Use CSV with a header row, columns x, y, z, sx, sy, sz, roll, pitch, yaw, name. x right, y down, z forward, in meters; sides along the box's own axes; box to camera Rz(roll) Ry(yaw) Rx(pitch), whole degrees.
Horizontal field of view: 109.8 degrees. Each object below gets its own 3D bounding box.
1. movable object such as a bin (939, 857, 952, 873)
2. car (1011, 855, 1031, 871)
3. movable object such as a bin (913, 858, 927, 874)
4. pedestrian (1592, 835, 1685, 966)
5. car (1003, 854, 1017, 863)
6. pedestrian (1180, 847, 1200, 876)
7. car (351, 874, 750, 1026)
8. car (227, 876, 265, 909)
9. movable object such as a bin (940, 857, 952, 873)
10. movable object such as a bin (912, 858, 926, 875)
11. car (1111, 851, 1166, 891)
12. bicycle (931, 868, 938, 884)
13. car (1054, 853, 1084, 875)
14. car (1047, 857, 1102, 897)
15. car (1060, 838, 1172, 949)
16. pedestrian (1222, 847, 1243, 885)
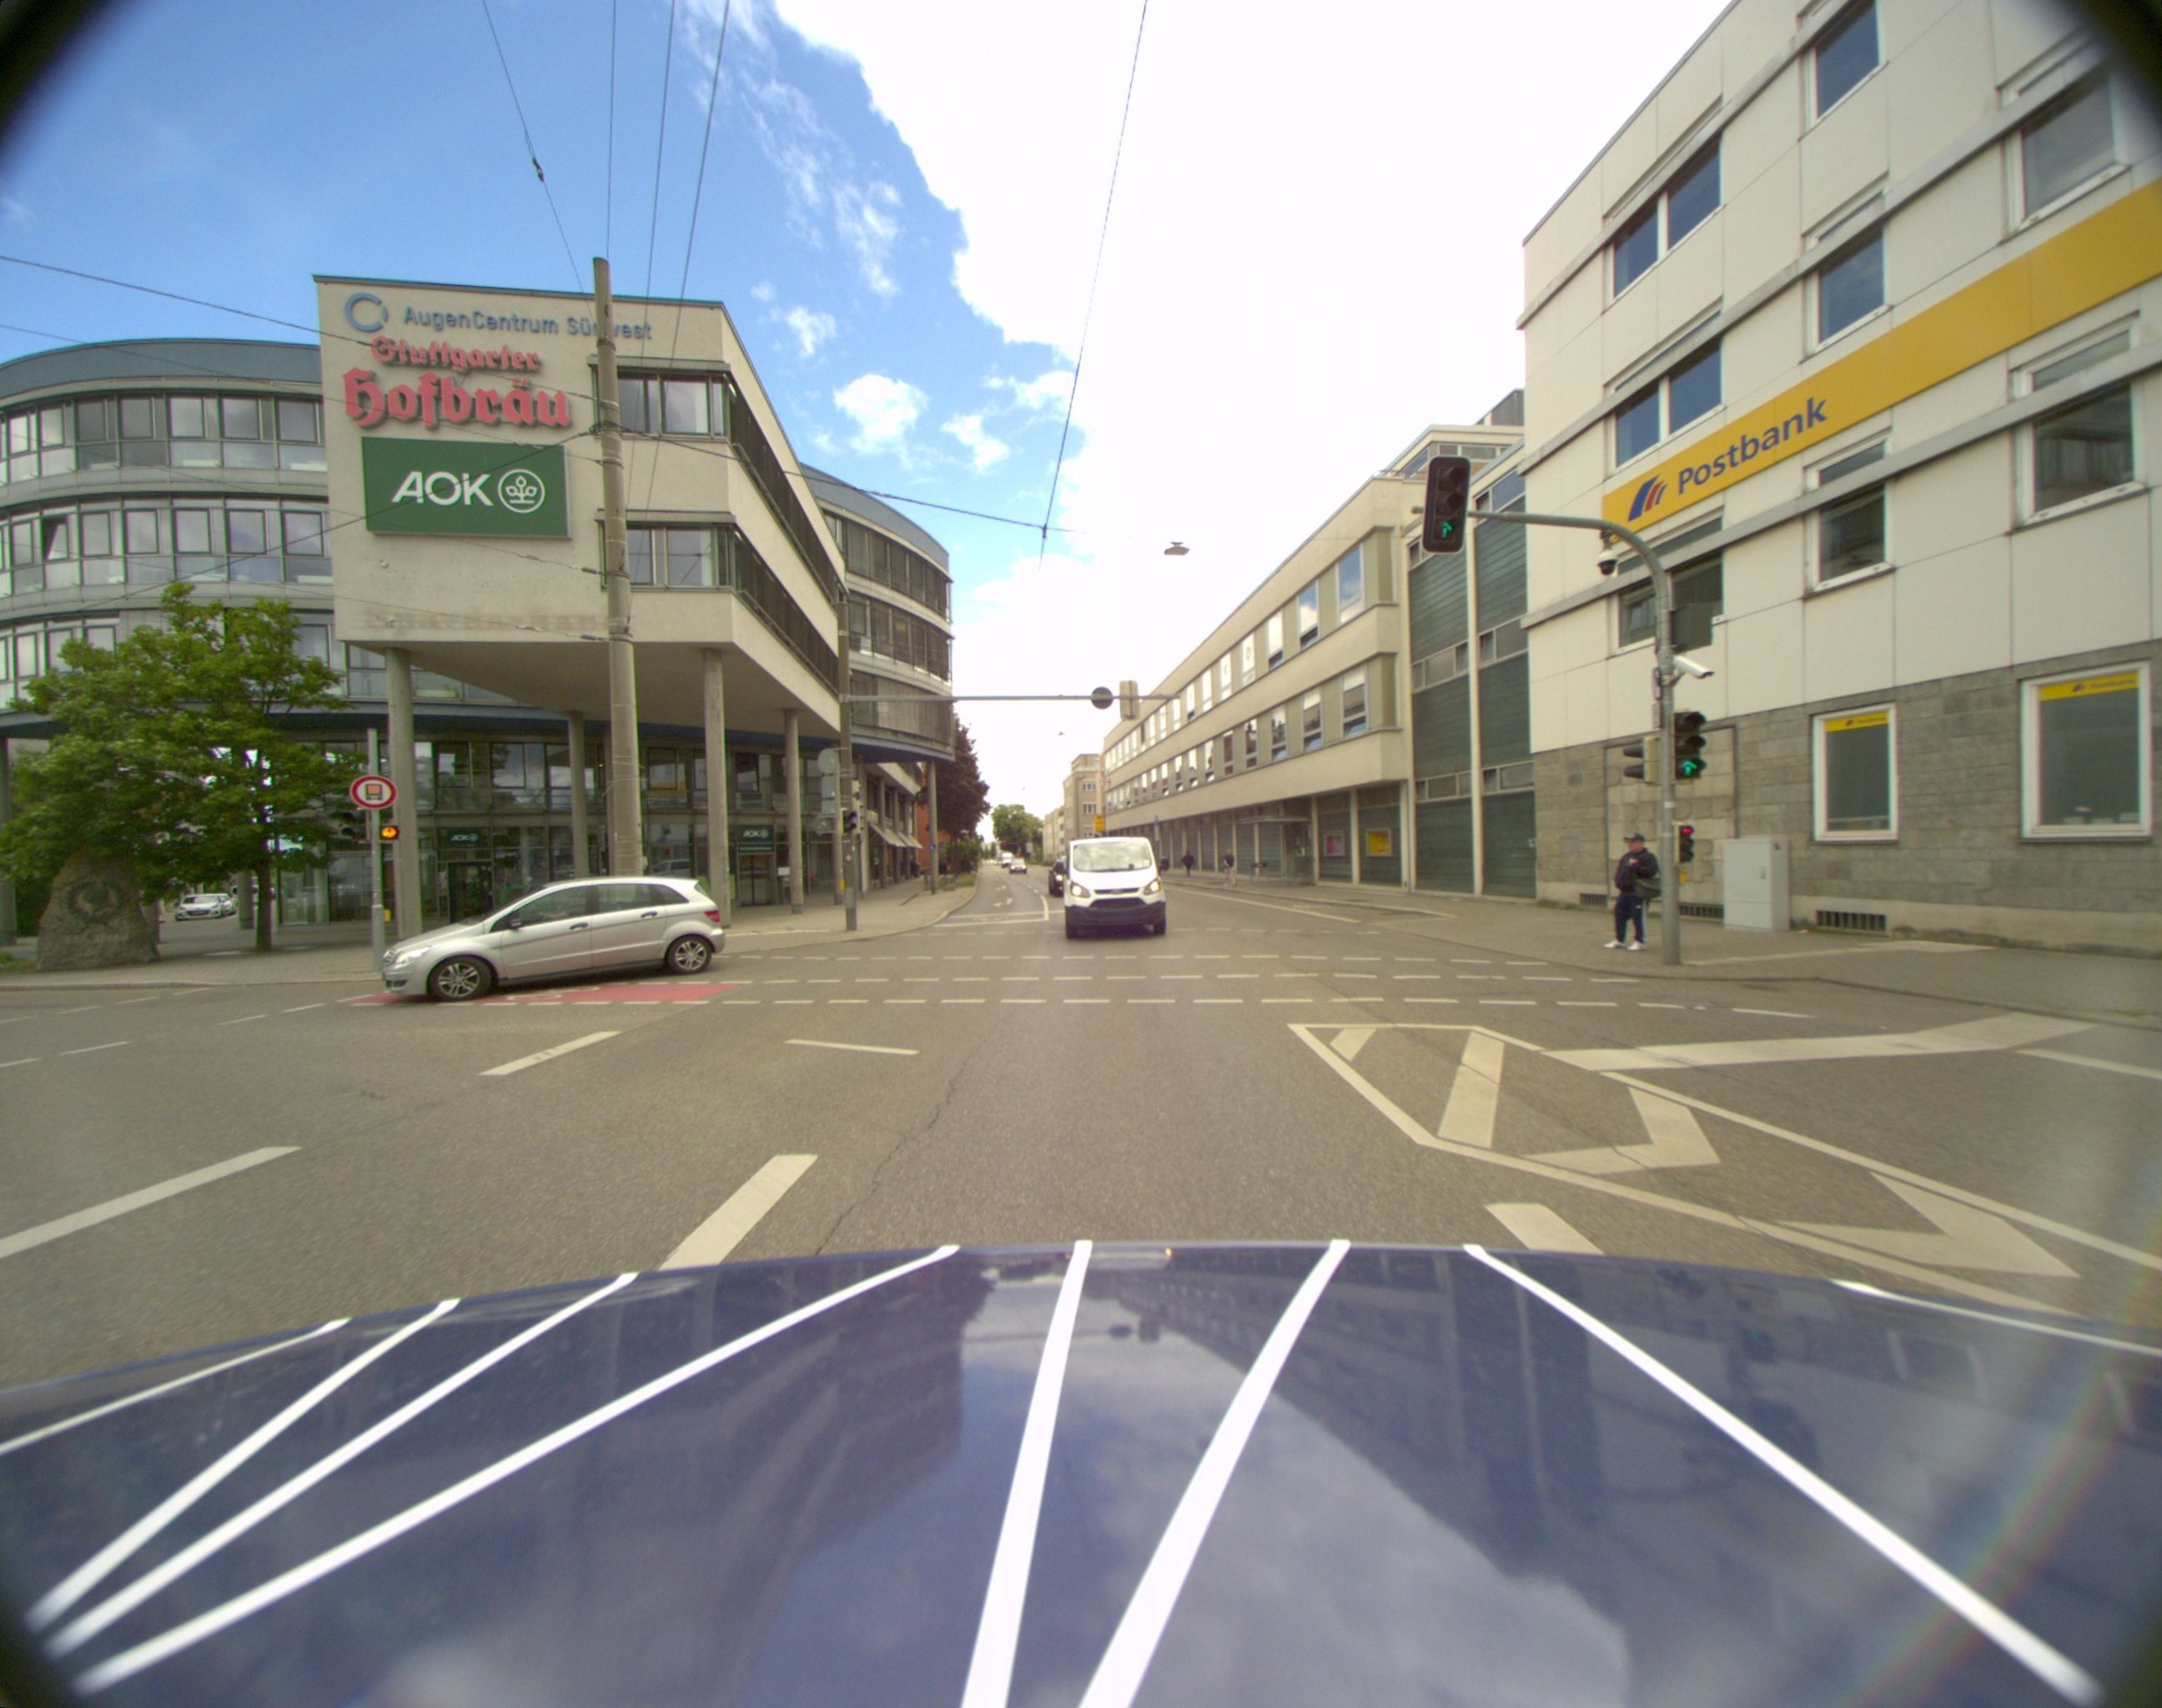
x,y,z,sx,sy,sz,roll,pitch,yaw,name
-12.683,1.051,71.290,1.131,1.457,1.411,0,1,-9,movable object such as a bin
-6.356,0.944,79.970,1.966,1.517,4.569,-2,0,-6,car
-14.735,1.079,69.439,1.125,1.457,1.332,0,1,-9,movable object such as a bin
7.691,0.621,10.519,0.649,1.708,0.783,-3,1,1,pedestrian
-12.395,0.801,132.492,1.966,1.517,4.568,-2,0,-9,car
6.684,0.477,46.549,0.864,1.708,1.031,-3,1,-9,pedestrian
-7.799,1.261,11.601,4.578,1.537,1.995,-5,1,-39,car
-76.843,3.532,69.984,6.091,2.814,2.170,-2,1,43,car
-12.906,1.046,72.643,1.101,1.457,1.332,0,1,-9,movable object such as a bin
-14.529,1.089,68.095,1.101,1.457,1.332,0,1,-9,movable object such as a bin
2.554,0.713,34.758,1.805,1.685,3.895,-1,0,-6,car
-10.670,1.576,55.330,0.362,1.080,2.026,-3,1,-9,bicycle
-0.990,0.768,60.649,1.966,1.617,4.569,-2,0,-6,car
-0.356,0.954,33.246,1.966,1.517,4.569,-2,0,-6,car
0.579,0.712,16.532,1.965,1.986,5.086,-2,0,-2,car
6.830,0.530,34.303,0.591,1.708,1.054,-2,1,-9,pedestrian
